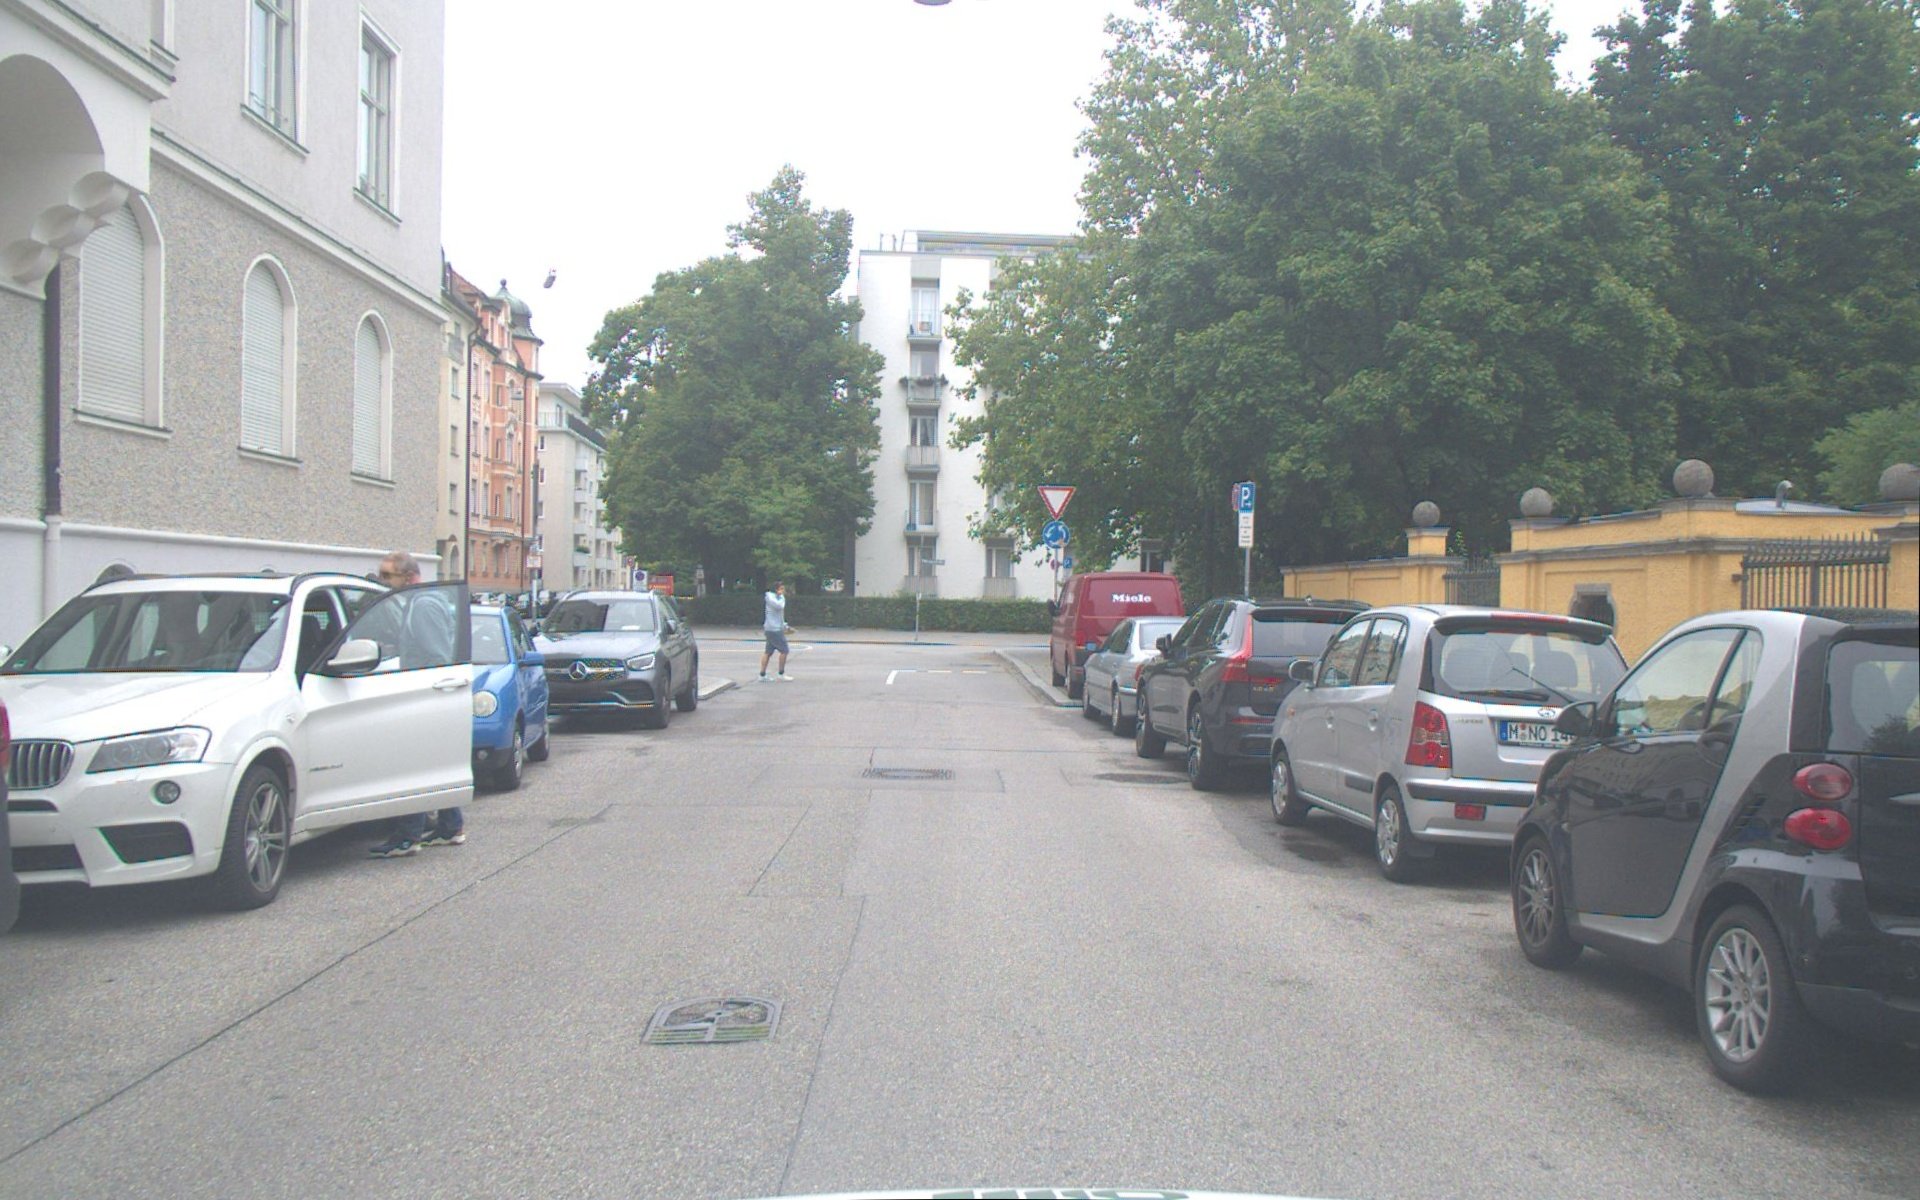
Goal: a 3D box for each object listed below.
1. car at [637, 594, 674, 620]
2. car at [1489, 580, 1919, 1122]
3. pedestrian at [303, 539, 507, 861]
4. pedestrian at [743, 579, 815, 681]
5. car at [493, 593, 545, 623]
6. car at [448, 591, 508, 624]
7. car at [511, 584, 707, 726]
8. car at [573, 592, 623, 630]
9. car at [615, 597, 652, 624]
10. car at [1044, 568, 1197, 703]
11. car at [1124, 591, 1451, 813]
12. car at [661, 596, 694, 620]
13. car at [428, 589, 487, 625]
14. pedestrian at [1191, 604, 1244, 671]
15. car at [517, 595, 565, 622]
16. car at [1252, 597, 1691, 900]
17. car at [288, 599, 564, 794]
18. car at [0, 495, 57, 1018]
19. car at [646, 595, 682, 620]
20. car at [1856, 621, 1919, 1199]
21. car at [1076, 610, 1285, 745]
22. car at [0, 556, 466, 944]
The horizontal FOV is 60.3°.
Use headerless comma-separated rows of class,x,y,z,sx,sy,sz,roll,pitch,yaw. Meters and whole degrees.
car,-19.438,0.437,105.588,1.798,1.663,3.818,0,0,-2
car,3.259,0.782,6.356,1.477,1.593,2.869,3,0,0
pedestrian,-3.300,0.561,9.811,0.951,1.786,0.867,2,0,-31
pedestrian,-3.276,0.543,29.964,1.036,1.802,0.869,1,-1,-27
car,-25.019,0.456,93.907,1.936,1.608,4.405,2,0,-3
car,-24.369,0.372,83.766,1.936,1.608,4.405,2,0,-3
car,-4.376,0.635,21.249,1.711,1.630,4.494,0,0,-2
car,-15.047,0.427,68.887,1.785,1.531,4.412,0,0,-10
car,-18.806,0.573,95.333,1.800,1.531,4.108,0,0,-8
car,2.557,0.543,27.485,1.836,1.954,4.885,2,0,-2
car,2.868,0.819,15.659,1.847,1.682,4.821,3,0,-3
car,-19.565,0.539,114.714,1.798,1.663,3.818,0,0,-2
car,-23.939,0.319,78.905,1.938,1.644,4.704,2,0,-8
pedestrian,5.382,0.782,34.598,0.988,1.361,0.877,1,0,2
car,-25.513,0.506,100.805,1.936,1.608,4.405,2,0,-3
car,3.097,0.806,10.783,1.455,1.566,3.690,3,0,-4
car,-4.421,0.721,14.190,1.660,1.439,3.656,0,0,-8
car,-4.149,0.542,3.582,1.711,1.819,5.035,0,0,-1
car,-19.601,0.483,109.627,1.798,1.663,3.818,0,0,-2
car,3.267,0.817,2.336,1.658,1.439,4.035,3,0,-2
car,2.767,0.930,21.754,1.847,1.474,4.365,3,0,-4
car,-4.206,0.637,9.202,1.711,1.630,4.494,0,0,-2
